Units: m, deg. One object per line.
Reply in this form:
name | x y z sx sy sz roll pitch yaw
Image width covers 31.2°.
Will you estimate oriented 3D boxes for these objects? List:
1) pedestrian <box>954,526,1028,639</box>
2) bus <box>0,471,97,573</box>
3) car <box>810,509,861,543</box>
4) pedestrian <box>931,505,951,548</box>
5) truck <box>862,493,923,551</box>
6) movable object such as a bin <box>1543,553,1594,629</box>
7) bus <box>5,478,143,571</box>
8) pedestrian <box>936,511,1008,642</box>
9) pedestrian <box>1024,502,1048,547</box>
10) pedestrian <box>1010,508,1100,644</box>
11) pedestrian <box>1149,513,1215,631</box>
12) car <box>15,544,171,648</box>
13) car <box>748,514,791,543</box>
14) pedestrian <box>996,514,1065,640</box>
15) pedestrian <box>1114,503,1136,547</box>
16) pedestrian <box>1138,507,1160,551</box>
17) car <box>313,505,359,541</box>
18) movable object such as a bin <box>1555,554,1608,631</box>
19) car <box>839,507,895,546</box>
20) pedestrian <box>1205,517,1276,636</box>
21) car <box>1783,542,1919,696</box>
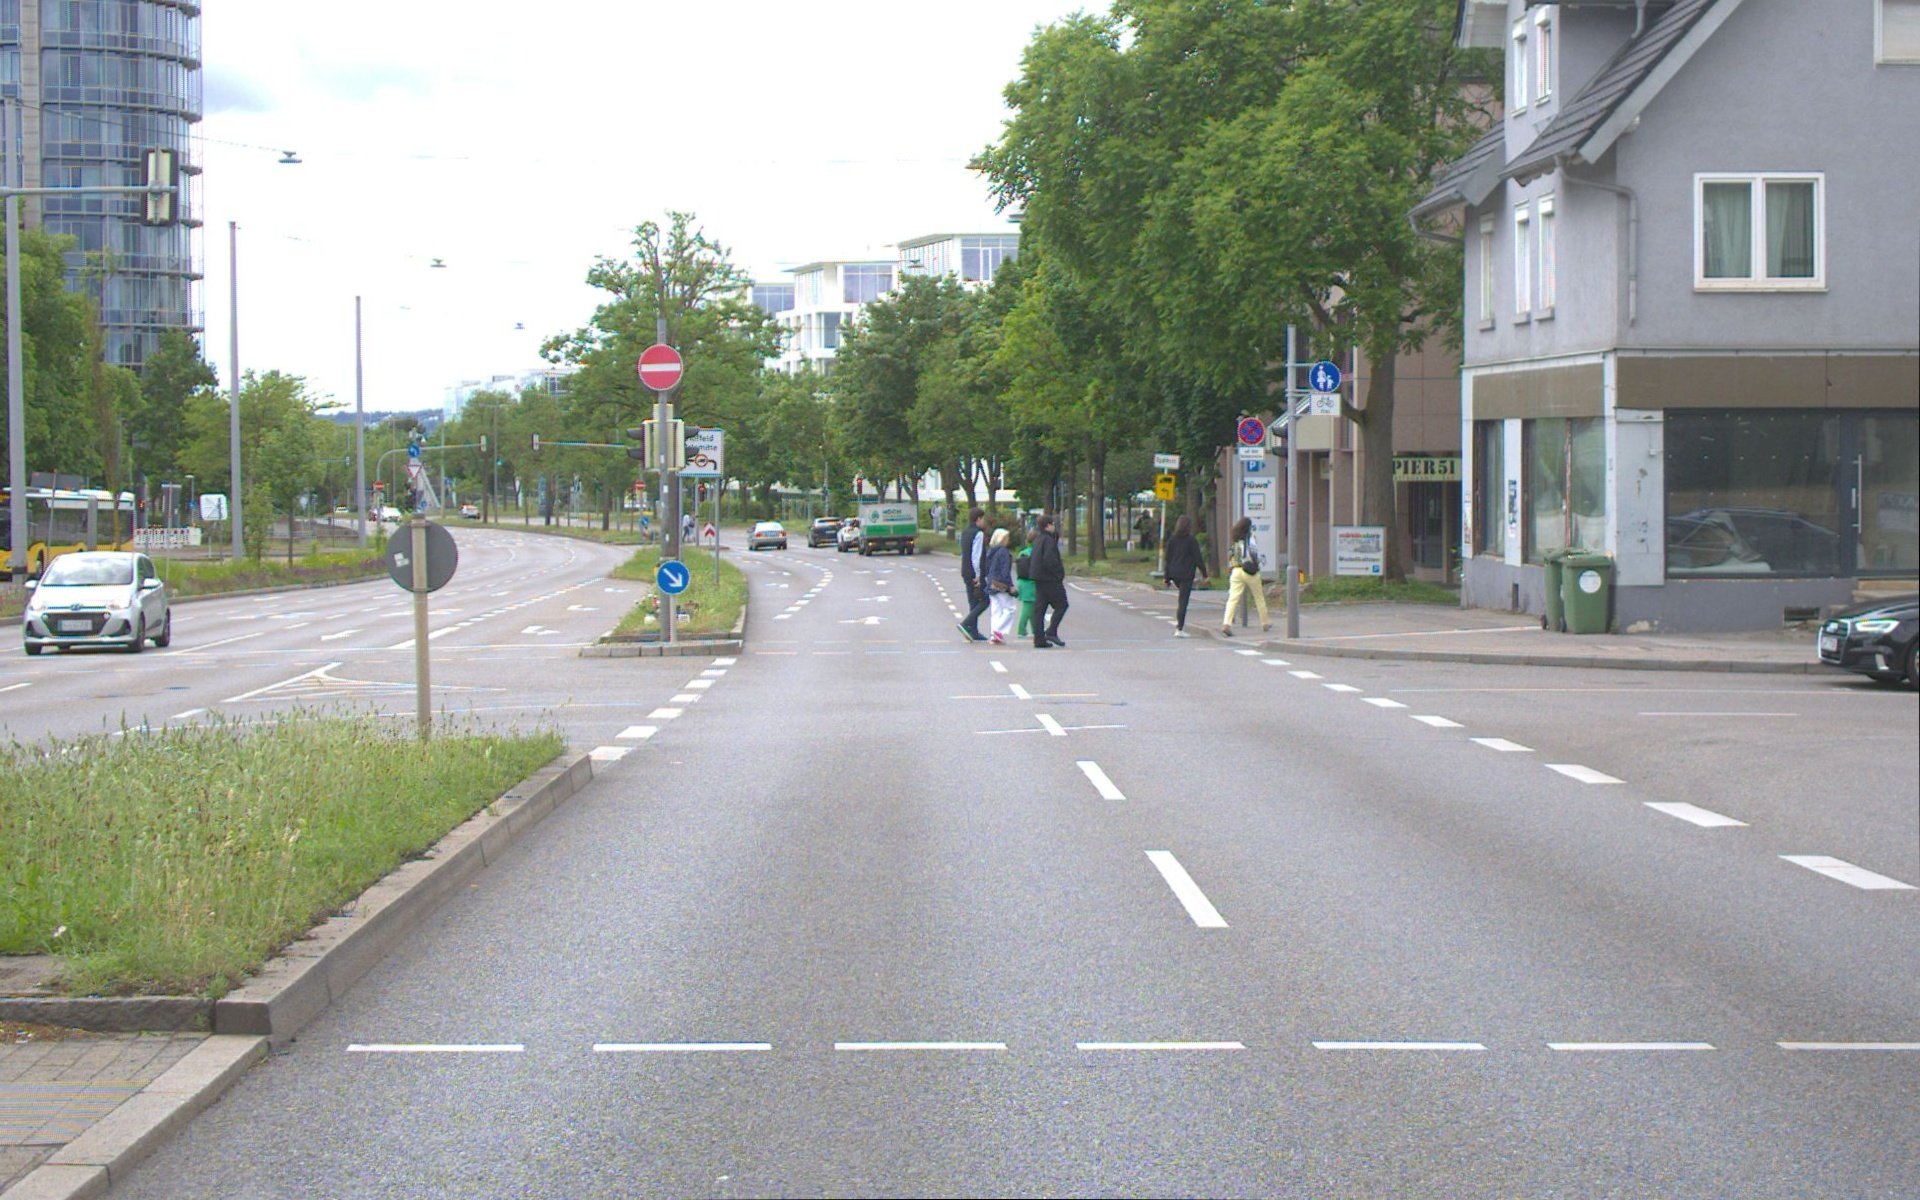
pedestrian | 0.413 -0.236 46.300 0.867 1.502 0.708 -1 1 -9
bus | -31.398 -2.561 114.467 3.144 3.214 10.286 -1 1 -3
car | -6.278 -3.721 172.873 2.250 1.641 4.934 -1 1 -5
pedestrian | -1.020 -3.945 185.620 0.930 2.300 1.011 1 0 -10
truck | -2.885 -3.296 145.886 2.251 2.408 4.934 -1 1 -5
movable object such as a bin | 7.932 -0.119 44.843 0.529 0.976 0.736 -1 1 -1
bus | -31.737 -2.702 123.471 3.144 3.214 7.766 -1 1 -2
pedestrian | 0.158 -0.330 47.067 0.867 1.773 0.708 -1 1 -9
pedestrian | 3.428 -3.387 155.003 0.971 2.007 0.981 1 0 -1
pedestrian | 1.244 -0.319 45.160 1.048 1.754 0.708 -1 1 -9
pedestrian | 3.165 -0.405 48.894 0.706 1.656 0.869 0 1 21
car | -12.804 -0.085 50.928 1.684 1.457 3.556 -1 1 -5
car | -9.466 -3.549 170.766 1.967 1.415 4.023 -1 1 -5
pedestrian | 1.007 -0.333 49.231 0.867 1.773 0.708 -1 1 -9
pedestrian | 5.845 -2.662 122.054 0.650 1.564 0.671 -1 1 -8
pedestrian | 6.718 -2.521 122.024 0.650 1.564 0.671 -1 1 -8
car | -36.338 -4.455 200.264 1.965 2.007 4.000 1 1 -1
movable object such as a bin | 7.960 -0.100 44.053 0.529 0.976 0.736 -1 1 -1
car | -4.310 -3.356 158.099 2.251 1.751 4.934 -1 1 -5
pedestrian | 3.934 -0.334 48.153 0.706 1.656 0.869 0 1 26
car | 10.579 0.153 34.538 4.084 1.489 1.896 -1 1 -5
